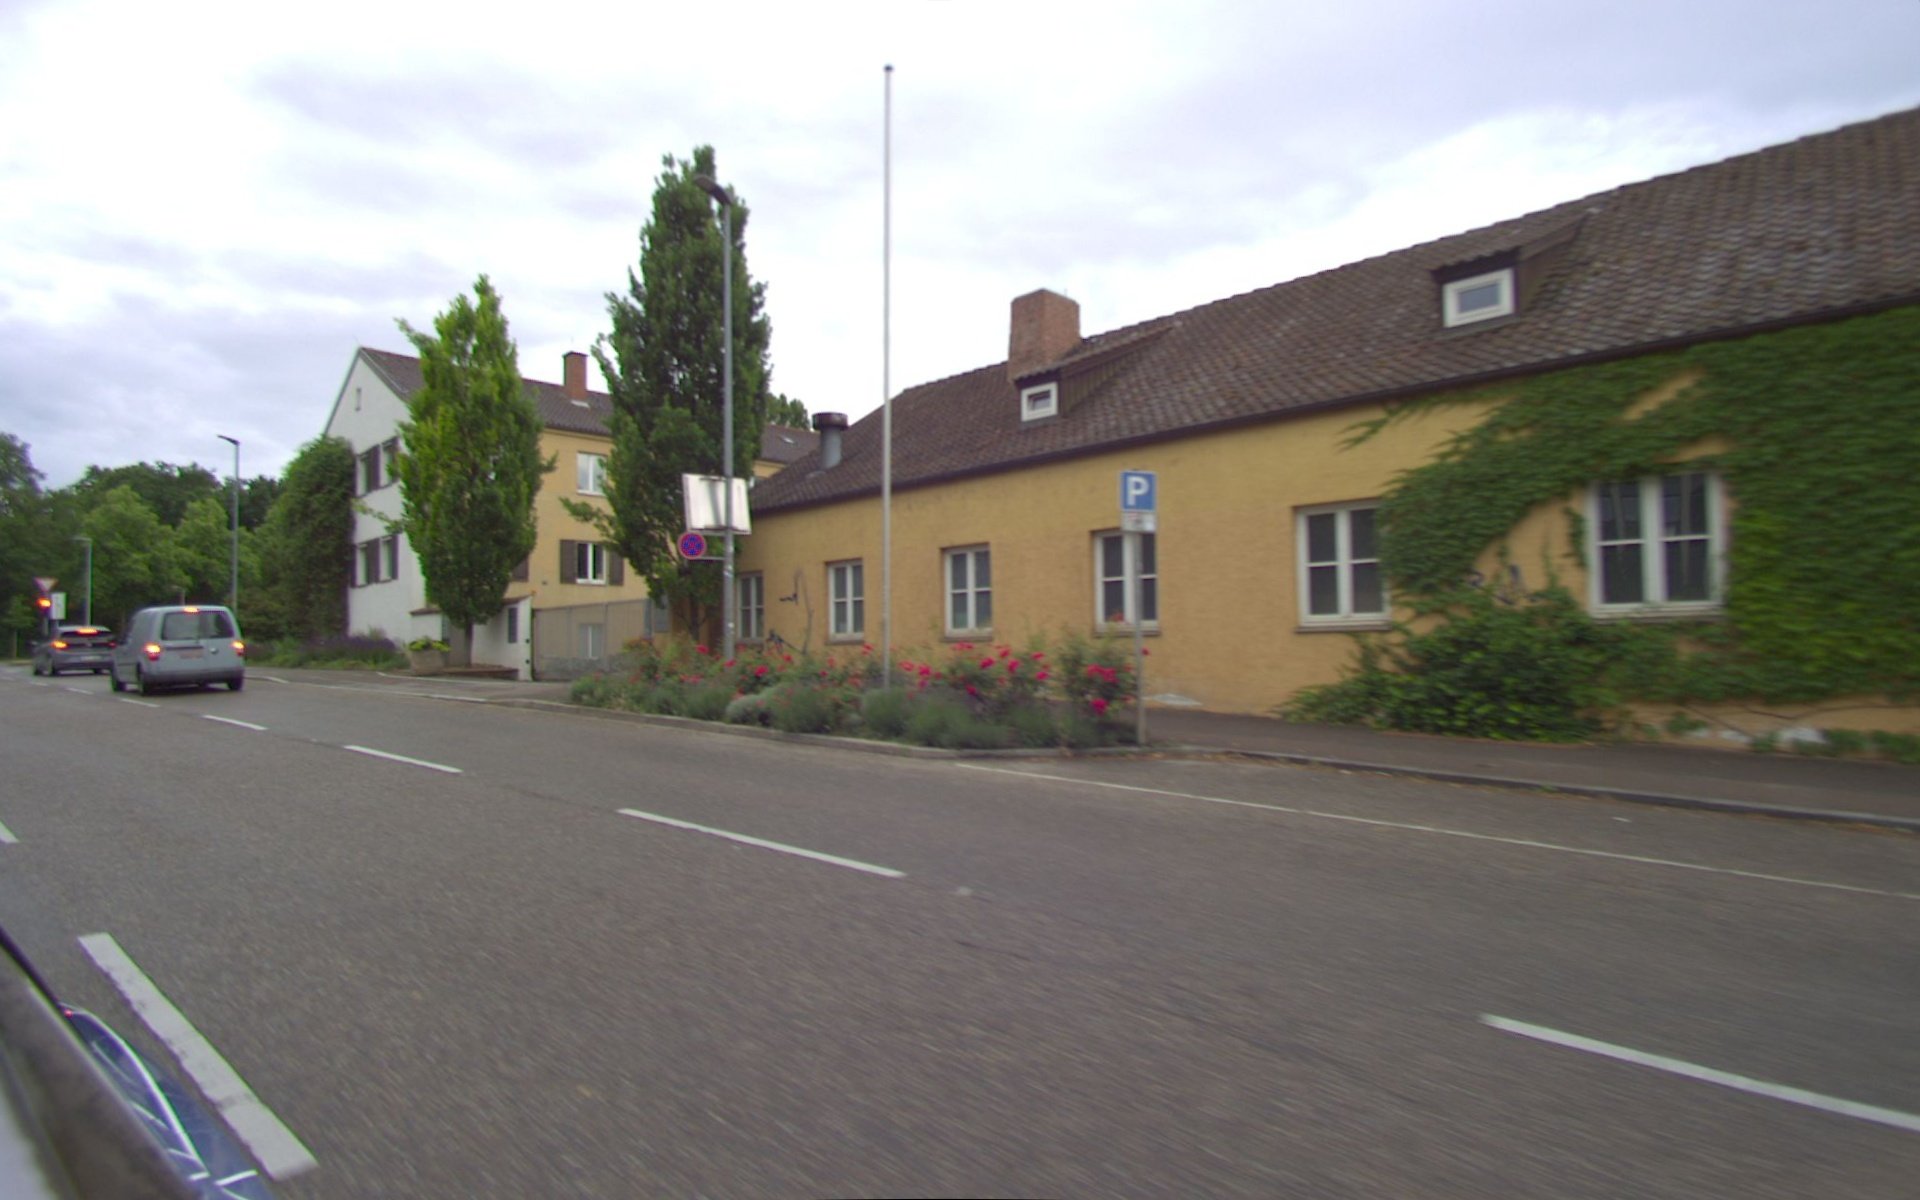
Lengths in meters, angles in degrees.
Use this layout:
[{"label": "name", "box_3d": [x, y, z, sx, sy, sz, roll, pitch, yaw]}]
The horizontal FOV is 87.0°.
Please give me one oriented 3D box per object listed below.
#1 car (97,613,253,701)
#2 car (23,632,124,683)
[{"label": "car", "box_3d": [-17.056, 1.150, 21.921, 4.508, 1.718, 1.875, -1, -1, 42]}, {"label": "car", "box_3d": [-28.490, 1.794, 32.473, 4.467, 1.469, 1.863, -1, -1, 41]}]
